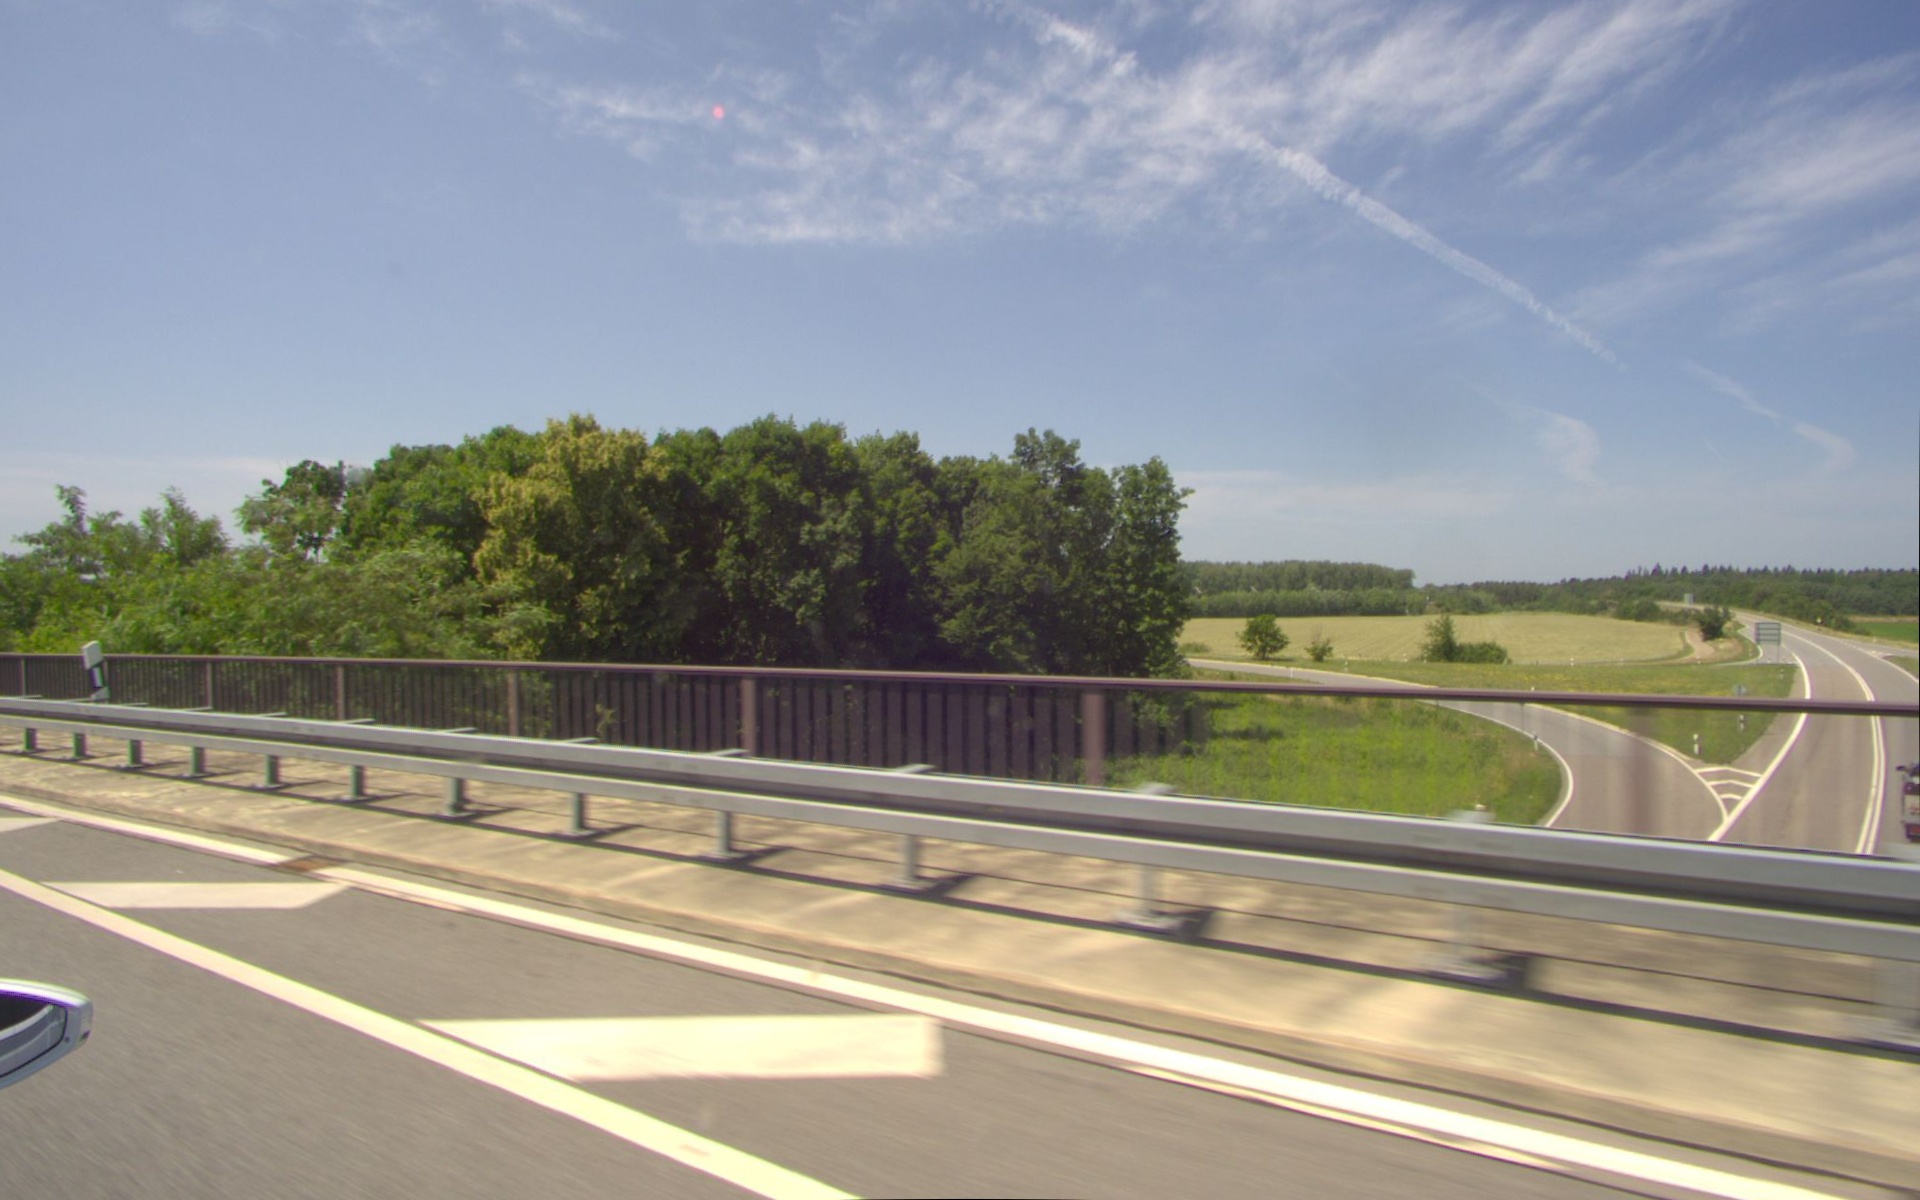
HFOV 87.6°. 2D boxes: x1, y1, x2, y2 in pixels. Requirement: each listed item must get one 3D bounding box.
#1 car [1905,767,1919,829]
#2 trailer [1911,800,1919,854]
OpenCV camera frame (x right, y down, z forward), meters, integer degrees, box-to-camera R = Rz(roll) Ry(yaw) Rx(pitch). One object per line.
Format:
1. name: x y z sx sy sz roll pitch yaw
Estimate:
1. car: 33.847 6.885 34.713 1.493 1.617 3.633 -2 -1 44
2. trailer: 31.040 7.224 31.720 1.254 1.060 4.437 -1 -2 44
